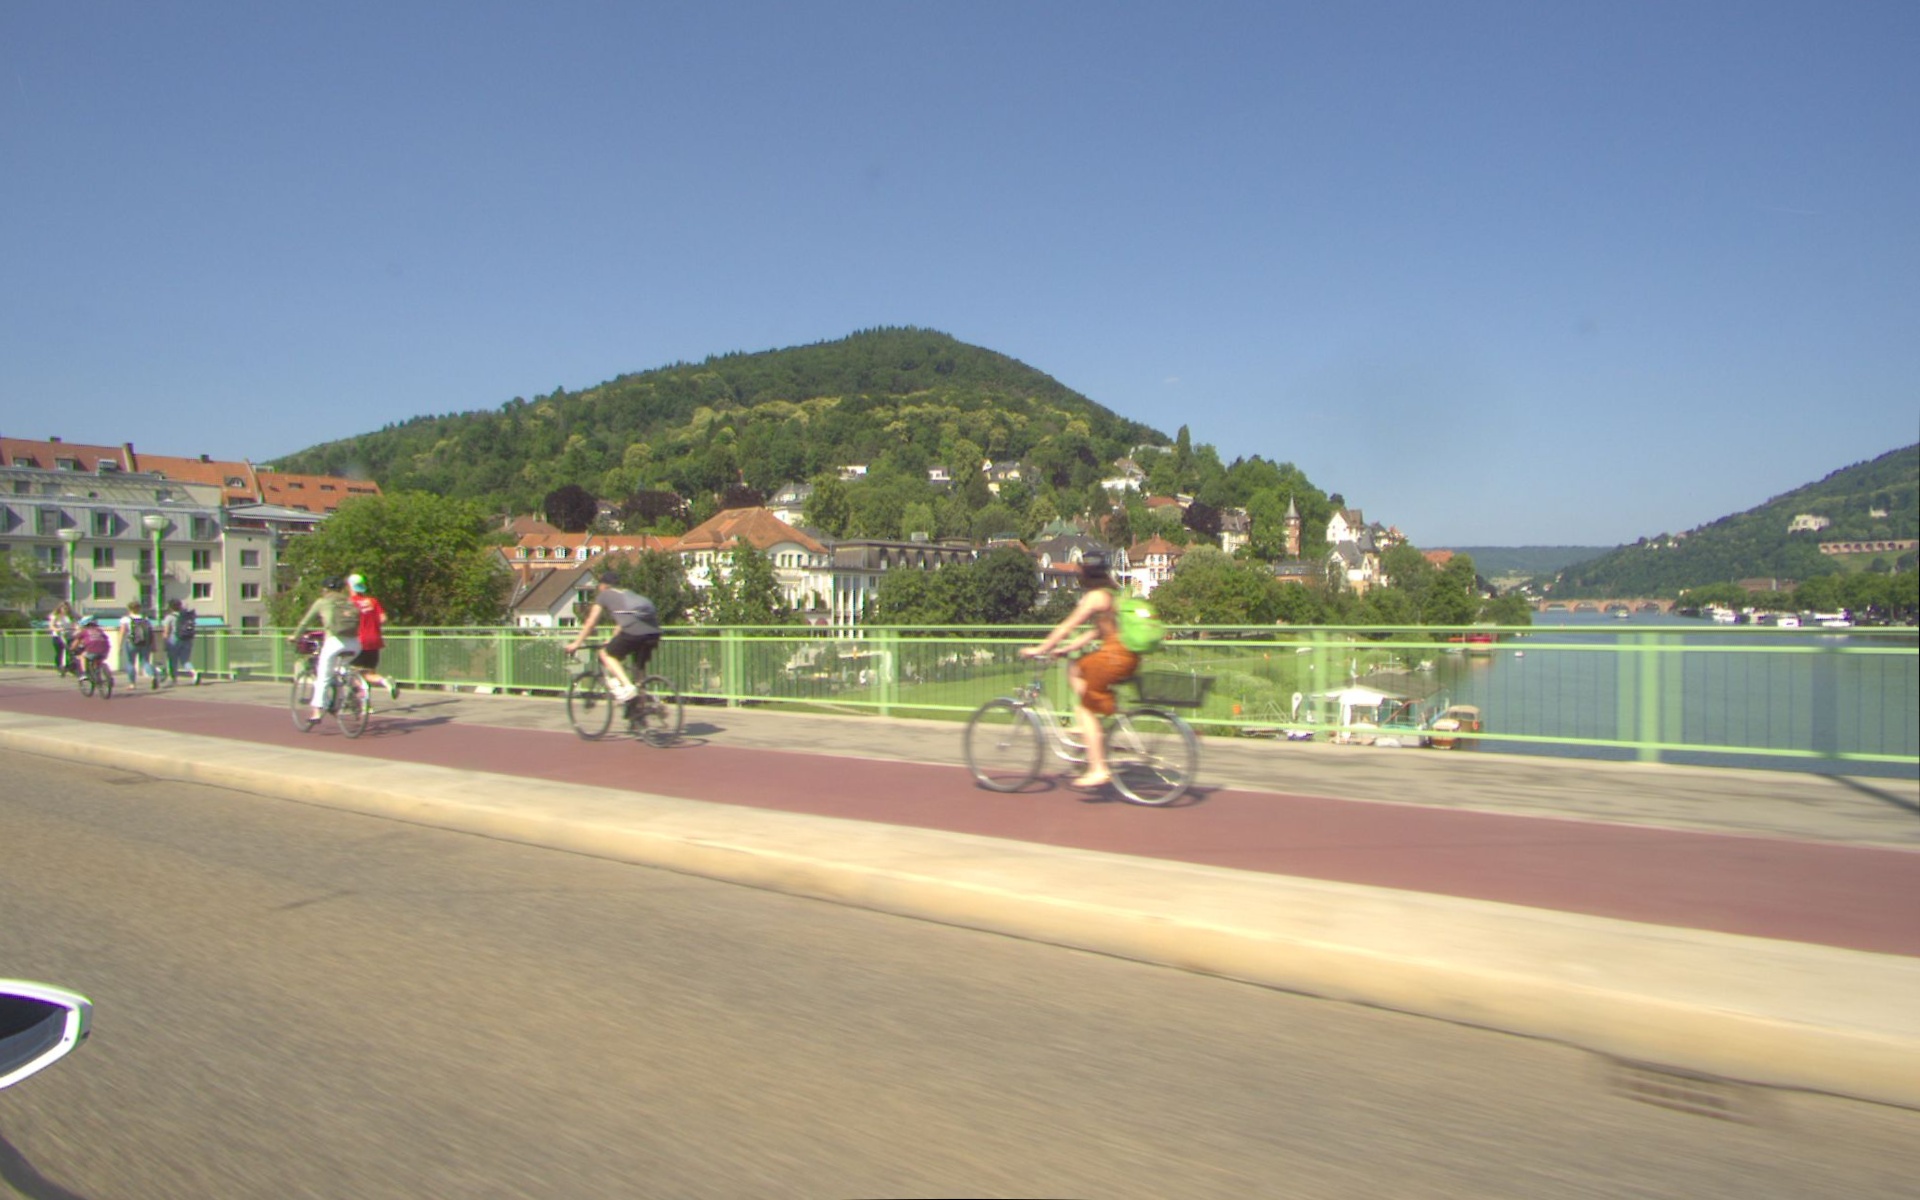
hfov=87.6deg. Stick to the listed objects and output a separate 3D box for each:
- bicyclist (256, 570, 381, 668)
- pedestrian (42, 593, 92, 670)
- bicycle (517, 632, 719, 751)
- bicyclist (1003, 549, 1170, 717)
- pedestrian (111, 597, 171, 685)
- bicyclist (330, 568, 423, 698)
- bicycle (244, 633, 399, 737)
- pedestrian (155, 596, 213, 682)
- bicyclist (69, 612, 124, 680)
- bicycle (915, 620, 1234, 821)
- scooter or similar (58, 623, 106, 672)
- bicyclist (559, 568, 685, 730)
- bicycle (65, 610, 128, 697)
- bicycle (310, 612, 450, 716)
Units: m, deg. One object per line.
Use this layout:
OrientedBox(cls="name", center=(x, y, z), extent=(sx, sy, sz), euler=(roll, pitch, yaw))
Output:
OrientedBox(cls="bicyclist", center=(-7.187, 0.204, 11.222), extent=(1.158, 1.044, 0.734), euler=(0, 0, 30))
OrientedBox(cls="pedestrian", center=(-20.946, 0.728, 23.494), extent=(0.854, 1.780, 0.641), euler=(0, 1, 30))
OrientedBox(cls="bicycle", center=(-3.457, 0.865, 10.039), extent=(2.233, 1.051, 0.617), euler=(0, 0, 31))
OrientedBox(cls="bicyclist", center=(0.865, 0.211, 6.824), extent=(0.965, 1.059, 0.666), euler=(0, 0, 28))
OrientedBox(cls="pedestrian", center=(-15.321, 0.756, 18.738), extent=(0.854, 1.607, 0.598), euler=(0, 1, 30))
OrientedBox(cls="bicyclist", center=(-7.725, 0.422, 13.270), extent=(0.854, 1.657, 0.734), euler=(0, 1, 30))
OrientedBox(cls="bicycle", center=(-7.186, 0.916, 11.241), extent=(2.020, 1.051, 0.617), euler=(0, 0, 31))
OrientedBox(cls="pedestrian", center=(-14.872, 0.730, 19.191), extent=(0.854, 1.607, 0.598), euler=(0, 1, 30))
OrientedBox(cls="bicyclist", center=(-14.551, 0.757, 16.869), extent=(0.842, 1.116, 0.596), euler=(0, 1, 42))
OrientedBox(cls="bicycle", center=(0.760, 0.750, 6.850), extent=(2.046, 1.209, 0.694), euler=(-1, 1, 27))
OrientedBox(cls="scooter or similar", center=(-20.207, 1.085, 23.051), extent=(0.852, 1.083, 0.587), euler=(0, 0, 30))
OrientedBox(cls="bicyclist", center=(-3.349, 0.463, 9.947), extent=(0.966, 1.520, 0.734), euler=(0, 1, 30))
OrientedBox(cls="bicycle", center=(-14.580, 0.858, 16.881), extent=(2.191, 1.385, 0.531), euler=(0, 0, 42))
OrientedBox(cls="bicycle", center=(-7.701, 0.801, 13.262), extent=(2.183, 1.288, 0.617), euler=(0, 0, 31))
